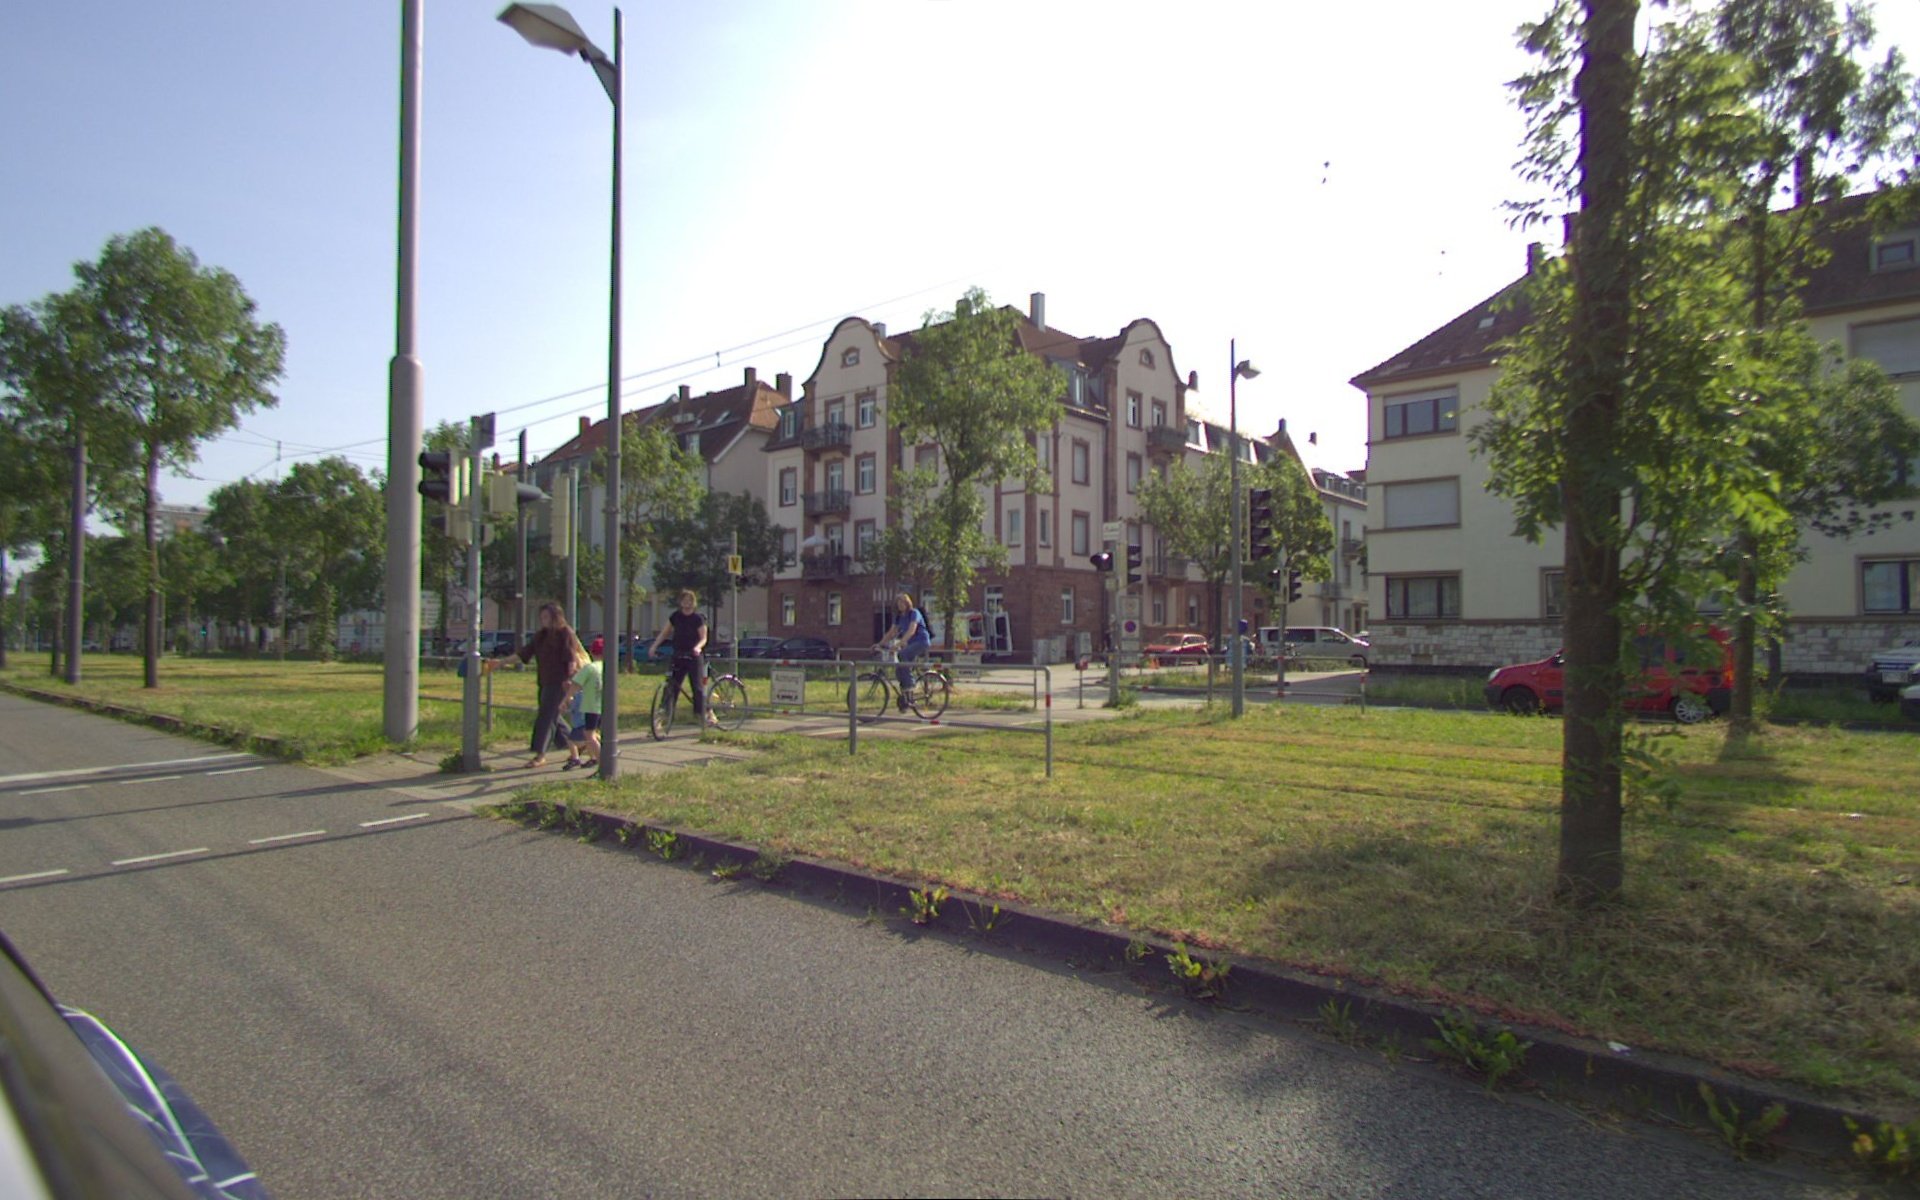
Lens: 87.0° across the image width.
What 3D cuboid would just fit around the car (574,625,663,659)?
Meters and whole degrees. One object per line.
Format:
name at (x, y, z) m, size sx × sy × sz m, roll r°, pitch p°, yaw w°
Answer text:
car at (-16.907, 2.070, 50.321) m, size 4.121 × 1.514 × 1.947 m, roll -1°, pitch -1°, yaw -17°

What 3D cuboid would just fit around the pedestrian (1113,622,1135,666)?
pedestrian at (6.764, 1.803, 41.696) m, size 0.632 × 1.761 × 0.661 m, roll -1°, pitch -1°, yaw 41°

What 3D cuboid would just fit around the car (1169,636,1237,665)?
car at (12.380, 2.525, 51.460) m, size 1.735 × 1.295 × 3.842 m, roll -1°, pitch -1°, yaw 43°

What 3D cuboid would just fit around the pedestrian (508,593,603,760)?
pedestrian at (-4.110, 0.762, 10.296) m, size 0.734 × 1.616 × 0.604 m, roll -2°, pitch -3°, yaw 39°

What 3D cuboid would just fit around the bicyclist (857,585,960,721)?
bicyclist at (-0.754, 0.733, 14.630) m, size 1.168 × 1.864 × 0.913 m, roll 0°, pitch -1°, yaw -31°

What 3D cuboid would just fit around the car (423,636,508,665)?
car at (-29.821, 3.037, 61.185) m, size 4.423 × 1.571 × 2.006 m, roll -1°, pitch -1°, yaw -20°

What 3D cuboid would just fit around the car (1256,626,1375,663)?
car at (14.884, 1.875, 42.538) m, size 4.447 × 1.482 × 1.603 m, roll -1°, pitch -3°, yaw 10°

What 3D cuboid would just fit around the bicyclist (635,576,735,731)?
bicyclist at (-3.425, 0.653, 12.591) m, size 0.858 × 1.836 × 0.909 m, roll 2°, pitch -3°, yaw -44°

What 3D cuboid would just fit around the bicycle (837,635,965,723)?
bicycle at (-0.831, 1.104, 14.550) m, size 1.763 × 1.154 × 0.578 m, roll 0°, pitch -1°, yaw -32°

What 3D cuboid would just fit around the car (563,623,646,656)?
car at (-18.511, 2.031, 52.775) m, size 3.994 × 1.566 × 1.922 m, roll -1°, pitch -1°, yaw -18°

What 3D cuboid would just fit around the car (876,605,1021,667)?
car at (-0.603, 1.583, 45.389) m, size 6.501 × 2.583 × 2.325 m, roll -1°, pitch -1°, yaw 39°

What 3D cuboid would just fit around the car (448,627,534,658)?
car at (-27.327, 2.456, 59.132) m, size 4.423 × 1.617 × 2.006 m, roll -1°, pitch -1°, yaw -20°

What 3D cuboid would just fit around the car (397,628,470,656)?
car at (-34.043, 2.701, 65.547) m, size 4.076 × 1.670 × 2.007 m, roll -1°, pitch -1°, yaw -25°

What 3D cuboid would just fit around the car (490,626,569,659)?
car at (-23.794, 2.338, 56.129) m, size 3.931 × 1.719 × 1.881 m, roll -1°, pitch -1°, yaw -20°

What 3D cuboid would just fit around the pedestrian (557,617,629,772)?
pedestrian at (-3.379, 0.850, 9.310) m, size 0.450 × 1.368 × 0.549 m, roll 2°, pitch -3°, yaw -41°

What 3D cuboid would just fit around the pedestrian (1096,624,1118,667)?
pedestrian at (6.183, 1.908, 42.452) m, size 0.632 × 1.761 × 0.661 m, roll -1°, pitch -1°, yaw 41°

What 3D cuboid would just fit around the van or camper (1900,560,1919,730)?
van or camper at (17.039, 0.667, 13.788) m, size 6.055 × 2.493 × 2.119 m, roll -1°, pitch -4°, yaw 41°

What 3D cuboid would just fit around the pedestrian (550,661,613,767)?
pedestrian at (-3.688, 1.091, 9.865) m, size 0.420 × 0.989 × 0.407 m, roll -2°, pitch -3°, yaw 39°

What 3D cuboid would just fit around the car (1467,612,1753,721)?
car at (11.769, 1.164, 18.499) m, size 4.160 × 1.751 × 1.796 m, roll -1°, pitch -4°, yaw 42°

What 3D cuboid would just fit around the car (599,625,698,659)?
car at (-14.912, 1.999, 48.568) m, size 4.438 × 1.451 × 2.006 m, roll -1°, pitch -1°, yaw -18°

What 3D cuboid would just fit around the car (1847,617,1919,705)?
car at (19.034, 1.078, 18.728) m, size 4.031 × 1.541 × 1.817 m, roll -1°, pitch -1°, yaw -12°

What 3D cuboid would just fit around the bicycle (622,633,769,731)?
bicycle at (-3.284, 0.993, 12.699) m, size 0.577 × 1.154 × 1.727 m, roll -2°, pitch -3°, yaw 45°

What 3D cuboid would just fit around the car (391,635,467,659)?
car at (-36.597, 3.237, 69.850) m, size 4.423 × 1.502 × 2.006 m, roll -1°, pitch -1°, yaw -20°

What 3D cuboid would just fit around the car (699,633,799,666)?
car at (-9.577, 2.206, 45.877) m, size 4.269 × 1.336 × 2.006 m, roll -1°, pitch -1°, yaw -18°

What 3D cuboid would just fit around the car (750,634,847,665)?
car at (-6.786, 2.047, 42.482) m, size 3.784 × 1.136 × 1.774 m, roll -1°, pitch -1°, yaw -18°

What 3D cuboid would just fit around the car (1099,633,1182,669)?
car at (8.467, 2.346, 47.215) m, size 2.000 × 1.475 × 3.943 m, roll -1°, pitch -1°, yaw 43°
